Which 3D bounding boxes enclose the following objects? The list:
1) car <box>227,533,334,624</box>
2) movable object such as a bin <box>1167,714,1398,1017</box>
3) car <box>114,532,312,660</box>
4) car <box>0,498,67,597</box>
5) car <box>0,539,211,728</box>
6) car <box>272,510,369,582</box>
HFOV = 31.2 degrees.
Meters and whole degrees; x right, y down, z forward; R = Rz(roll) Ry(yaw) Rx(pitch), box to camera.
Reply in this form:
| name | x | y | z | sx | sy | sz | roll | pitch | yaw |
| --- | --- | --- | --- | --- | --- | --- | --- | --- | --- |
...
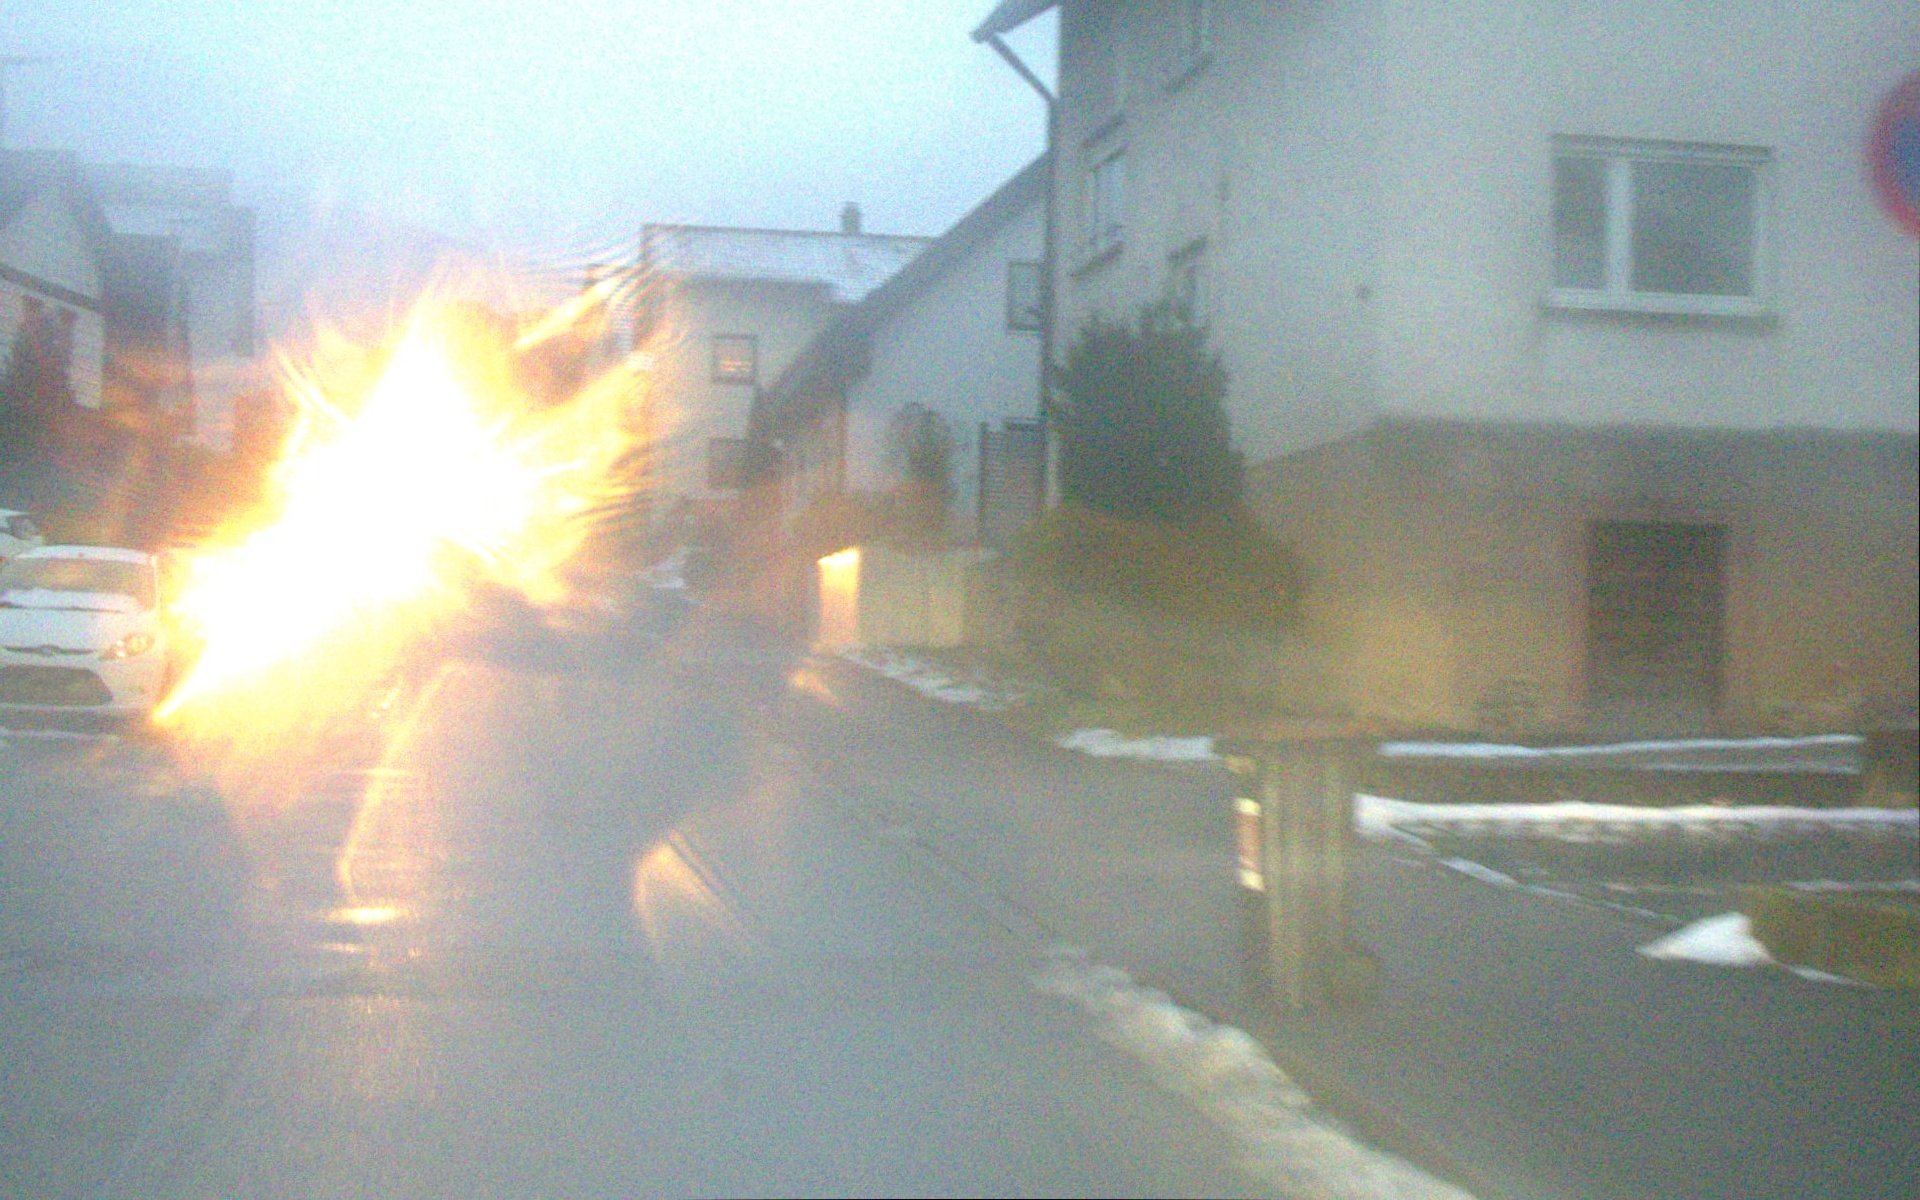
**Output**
| name | x | y | z | sx | sy | sz | roll | pitch | yaw |
| --- | --- | --- | --- | --- | --- | --- | --- | --- | --- |
| car | -12.300 | -0.406 | 62.386 | 1.683 | 1.579 | 4.177 | 0 | 1 | -8 |
| movable object such as a bin | 1.042 | 0.852 | 11.226 | 0.637 | 0.914 | 0.686 | 1 | 1 | -3 |
| car | -8.580 | -0.078 | 39.857 | 1.877 | 1.389 | 5.076 | 0 | 1 | -8 |
| car | -17.100 | -0.929 | 57.307 | 3.986 | 1.612 | 1.889 | 2 | 1 | -4 |
| car | -7.038 | 0.228 | 27.863 | 1.618 | 1.433 | 3.657 | 0 | 1 | -8 |
| car | -13.880 | -1.204 | 74.794 | 1.794 | 1.498 | 4.311 | 0 | 2 | -7 |
